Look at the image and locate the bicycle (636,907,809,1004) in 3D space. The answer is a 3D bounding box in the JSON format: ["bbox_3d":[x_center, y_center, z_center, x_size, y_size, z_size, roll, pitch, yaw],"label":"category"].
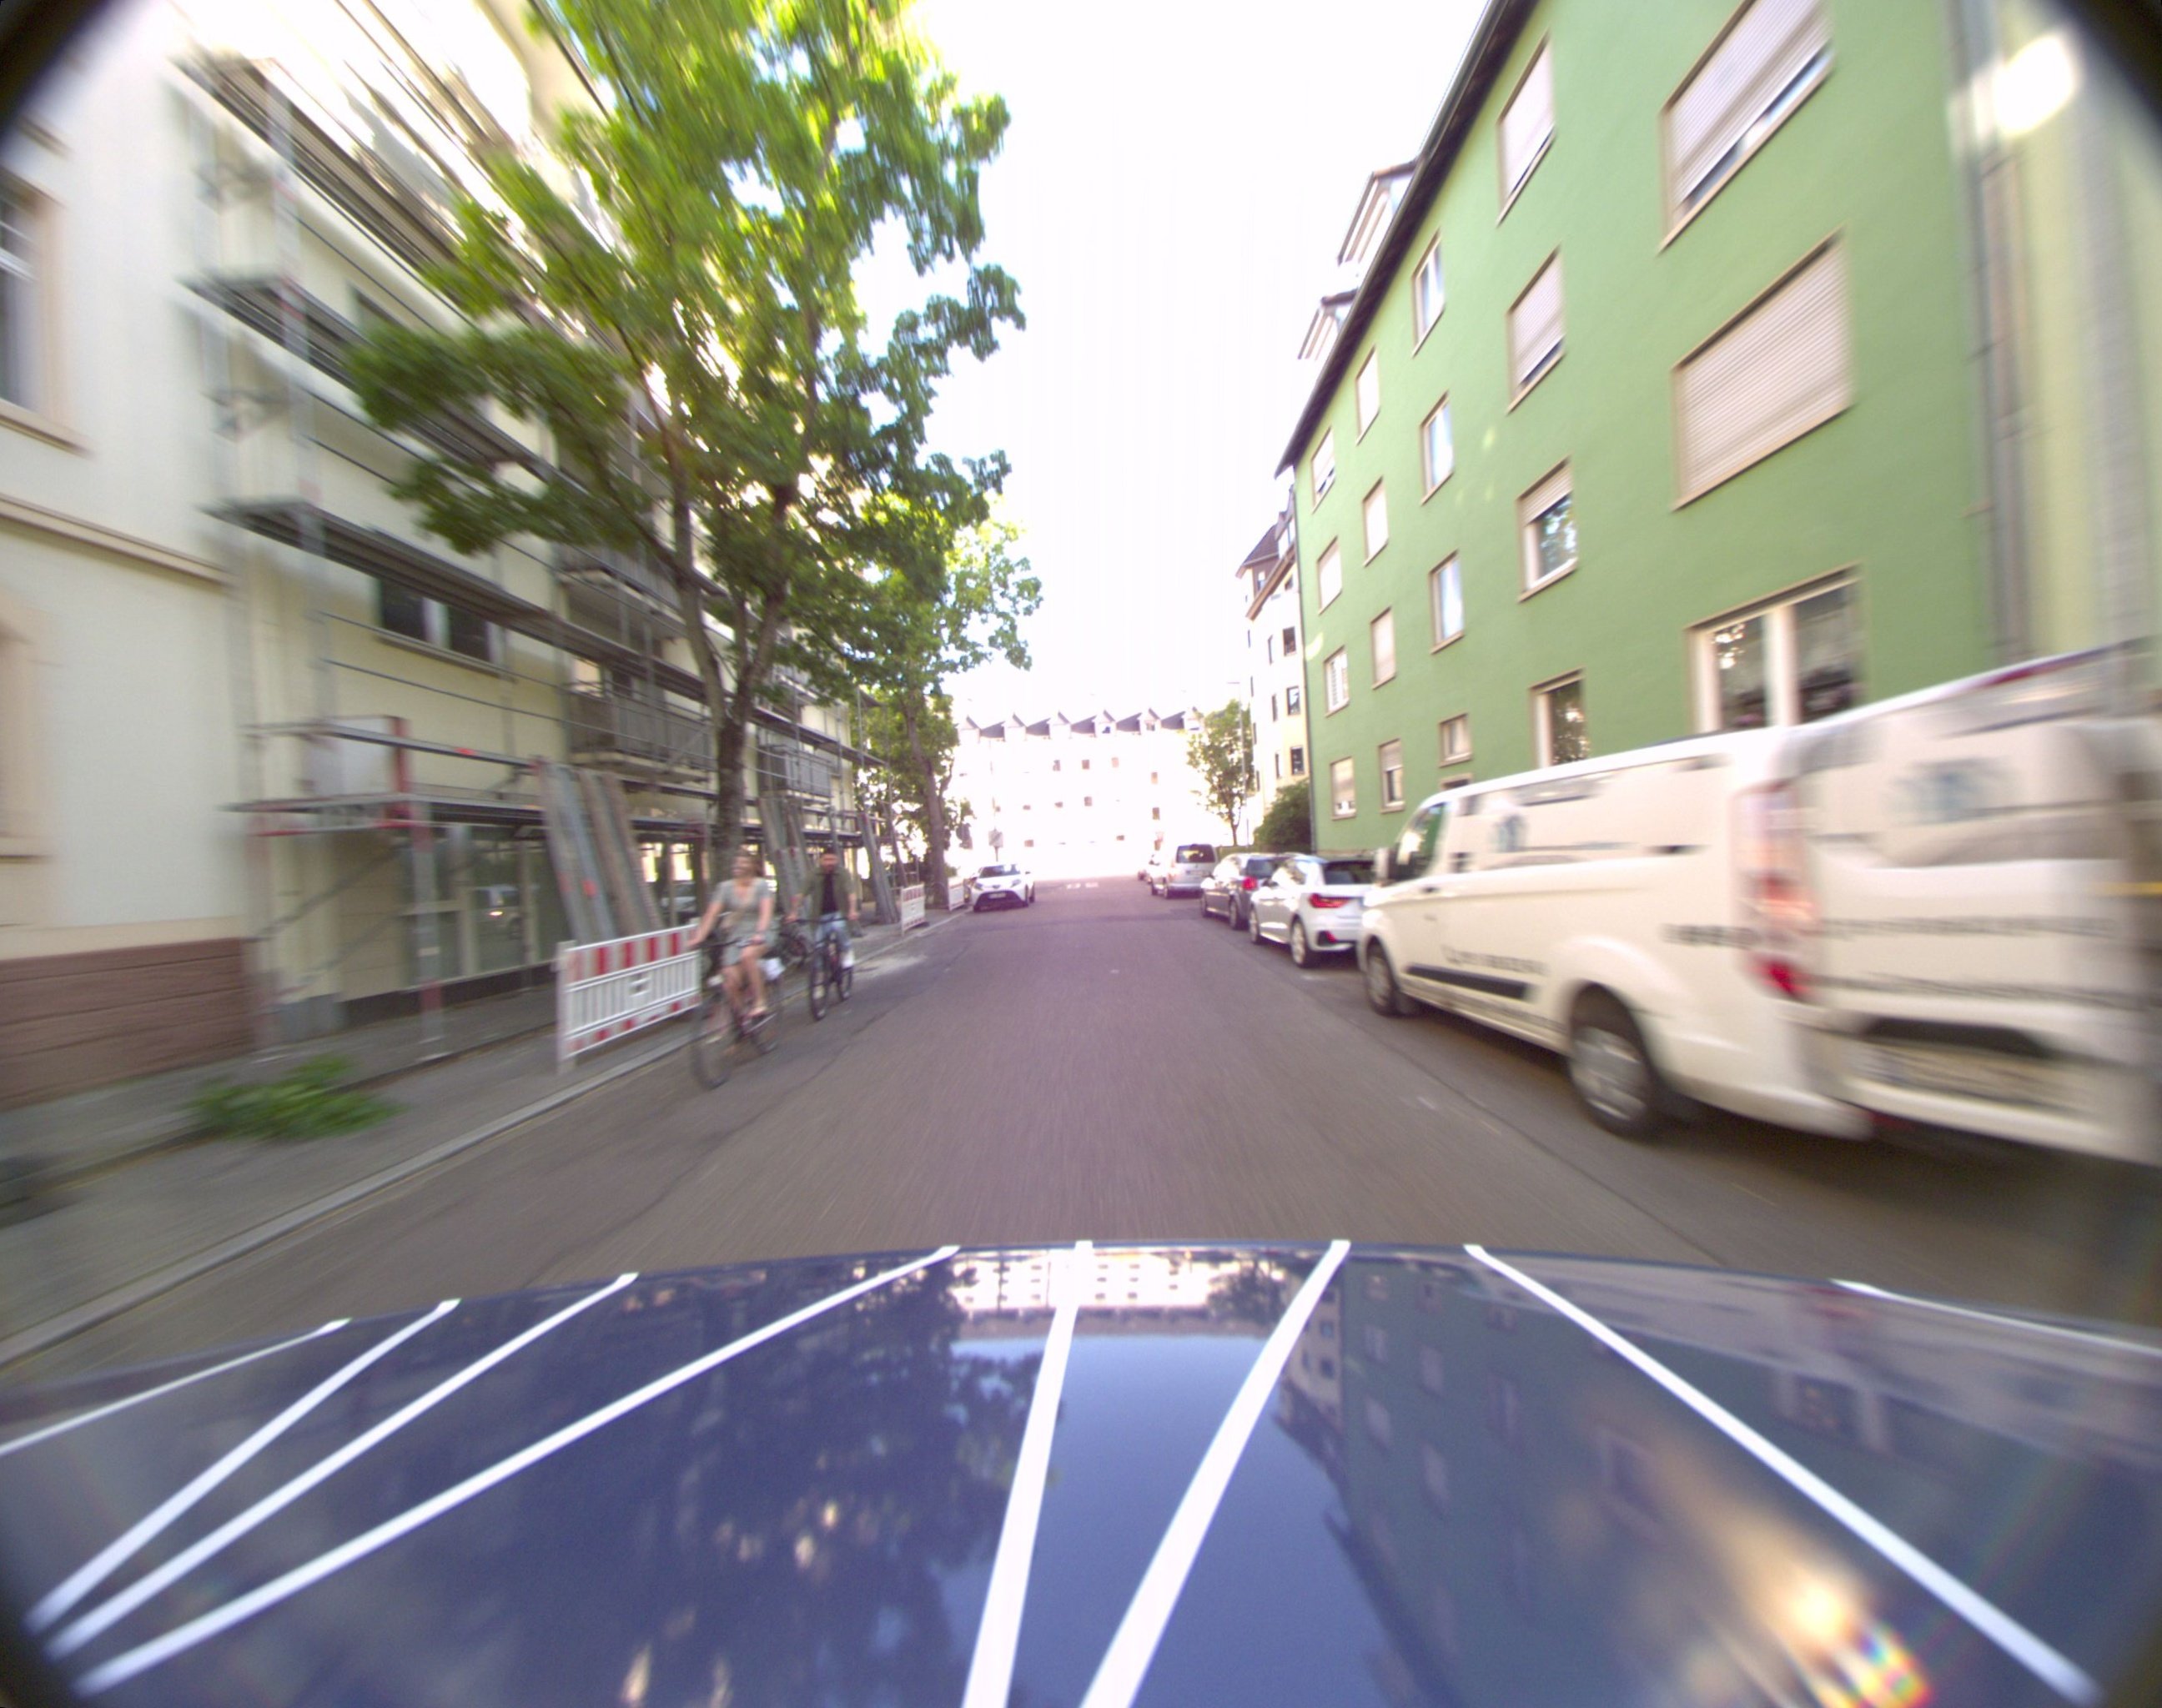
[{"bbox_3d":[-4.813,1.363,10.241,1.980,1.115,0.748,-4,1,11],"label":"bicycle"}]

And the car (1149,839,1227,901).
[{"bbox_3d":[3.479,0.457,25.450,1.776,1.832,4.414,-2,1,-2],"label":"car"}]

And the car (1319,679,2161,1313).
[{"bbox_3d":[3.639,0.454,5.241,2.257,2.156,5.242,-1,1,-1],"label":"car"}]

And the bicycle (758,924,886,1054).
[{"bbox_3d":[-2.864,1.456,8.638,0.741,1.054,1.857,-5,1,-1],"label":"bicycle"}]

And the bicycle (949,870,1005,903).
[{"bbox_3d":[-3.838,1.175,27.957,1.973,1.148,0.751,-1,1,-13],"label":"bicycle"}]

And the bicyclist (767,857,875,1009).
[{"bbox_3d":[-2.913,0.849,8.620,0.757,1.556,0.981,-5,1,-1],"label":"bicyclist"}]

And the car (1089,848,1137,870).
[{"bbox_3d":[2.612,0.385,61.619,3.613,1.440,1.553,-4,2,-7],"label":"car"}]

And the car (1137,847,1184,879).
[{"bbox_3d":[4.144,0.453,40.212,1.724,1.546,4.072,-2,0,-5],"label":"car"}]

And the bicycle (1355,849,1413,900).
[{"bbox_3d":[7.114,0.451,17.912,0.488,1.069,1.969,-8,1,1],"label":"bicycle"}]

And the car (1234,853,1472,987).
[{"bbox_3d":[3.554,0.754,10.888,1.837,1.454,4.362,-1,1,0],"label":"car"}]

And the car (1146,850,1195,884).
[{"bbox_3d":[4.033,0.540,34.862,1.770,1.444,4.207,-1,0,0],"label":"car"}]

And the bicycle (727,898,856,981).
[{"bbox_3d":[-4.464,1.304,11.684,1.925,1.115,0.749,-4,1,31],"label":"bicycle"}]

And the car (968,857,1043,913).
[{"bbox_3d":[-2.391,0.955,25.067,1.807,1.526,3.964,-5,0,2],"label":"car"}]

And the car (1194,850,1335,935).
[{"bbox_3d":[3.638,0.682,15.911,1.724,1.454,4.505,-1,1,-2],"label":"car"}]

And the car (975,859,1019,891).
[{"bbox_3d":[-4.152,1.019,38.249,1.665,1.399,4.507,-1,0,1],"label":"car"}]

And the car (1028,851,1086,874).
[{"bbox_3d":[-1.930,0.685,61.103,4.493,1.498,1.944,-4,1,-5],"label":"car"}]

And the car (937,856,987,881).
[{"bbox_3d":[-9.385,1.144,60.262,3.706,1.598,1.648,-5,1,-7],"label":"car"}]

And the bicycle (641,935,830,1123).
[{"bbox_3d":[-2.759,1.343,6.328,0.708,1.039,1.857,-7,1,-4],"label":"bicycle"}]

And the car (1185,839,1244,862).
[{"bbox_3d":[10.946,-0.260,62.596,4.285,1.548,1.999,-5,1,-8],"label":"car"}]

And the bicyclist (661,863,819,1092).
[{"bbox_3d":[-2.785,0.953,6.329,0.716,1.679,0.981,-6,1,-4],"label":"bicyclist"}]
